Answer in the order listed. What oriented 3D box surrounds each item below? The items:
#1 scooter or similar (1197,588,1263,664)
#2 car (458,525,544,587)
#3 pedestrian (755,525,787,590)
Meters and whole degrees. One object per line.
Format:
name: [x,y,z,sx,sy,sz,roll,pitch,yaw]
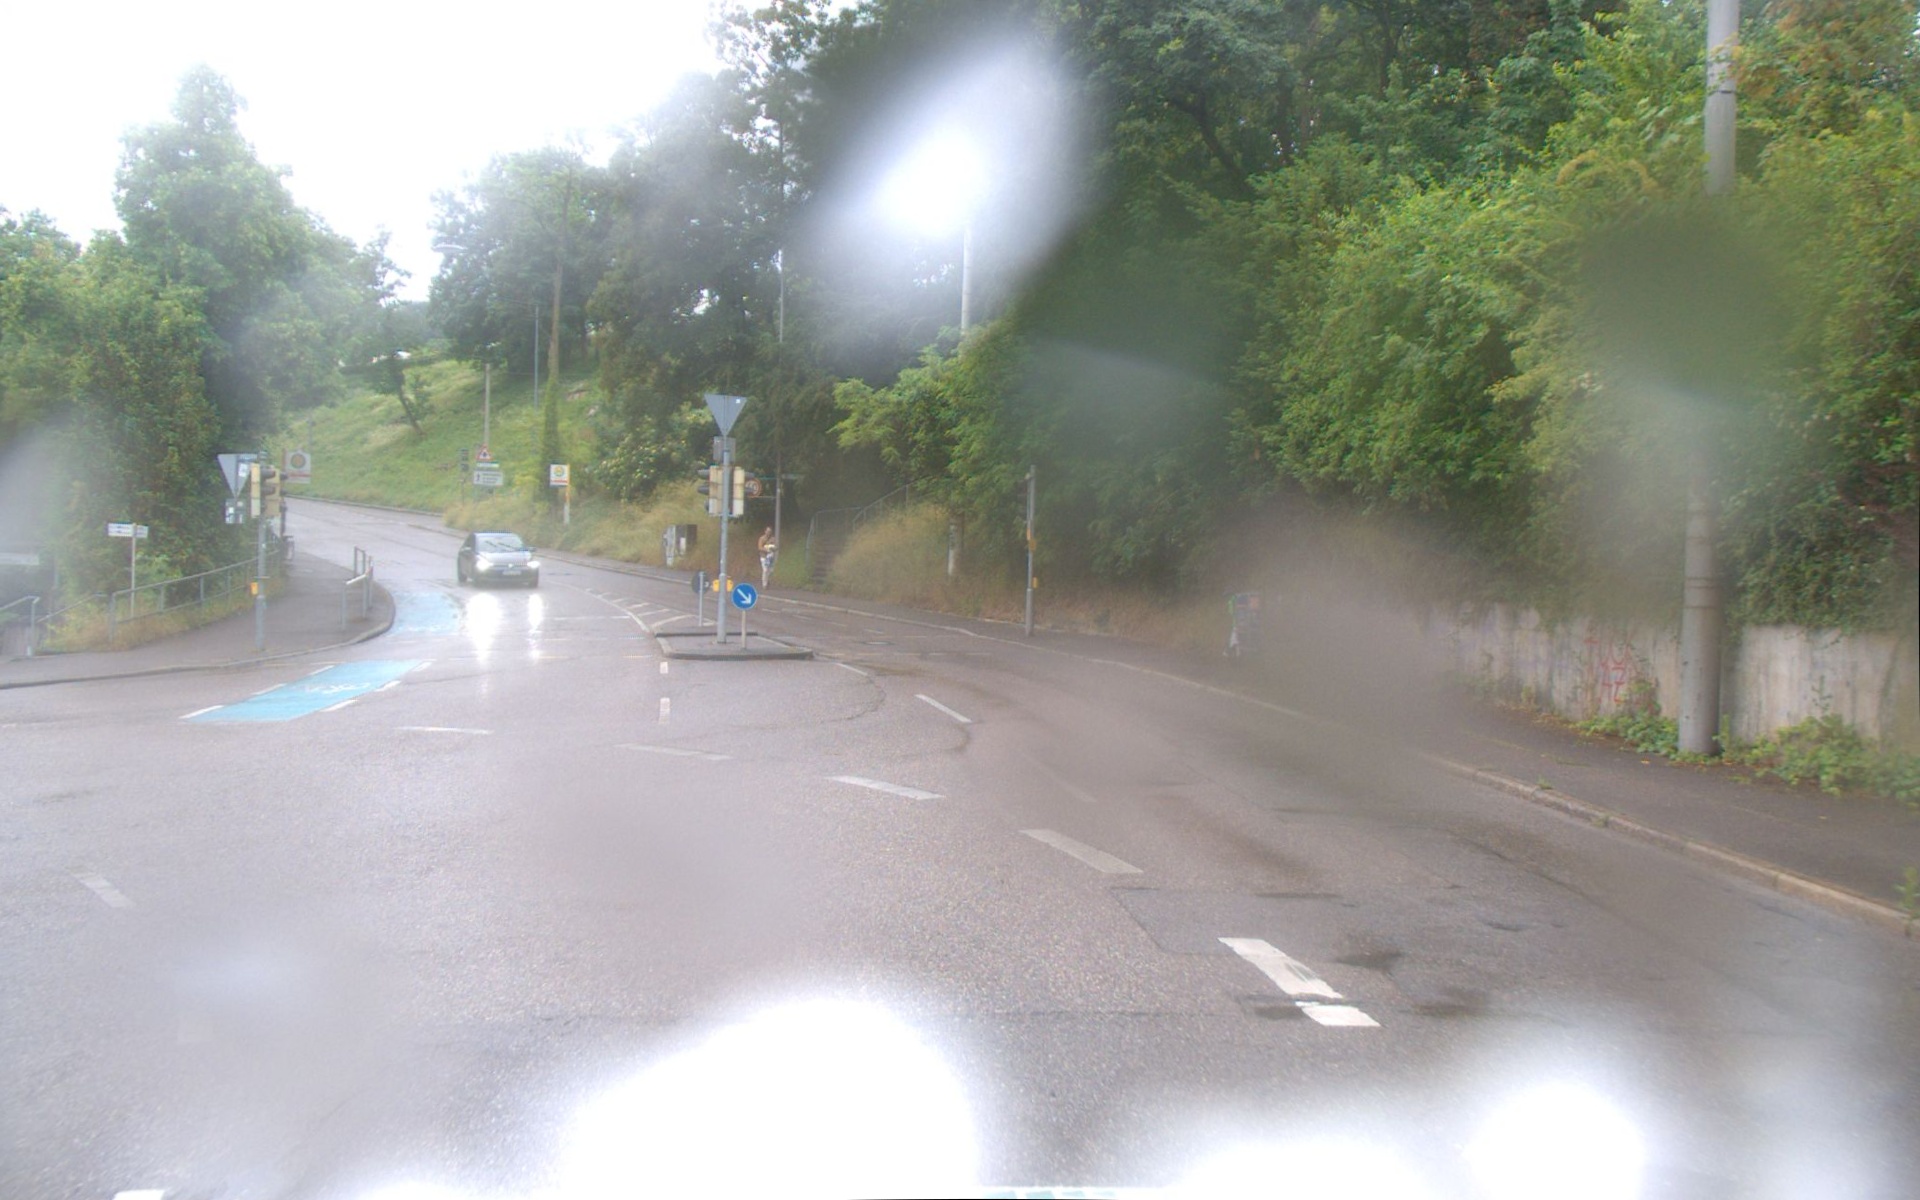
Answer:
scooter or similar: [4.199,0.389,25.838,0.590,1.094,1.767,1,1,-5]
car: [-13.202,-1.317,47.439,1.857,1.547,4.663,-1,5,-22]
pedestrian: [-5.377,-1.204,46.951,0.639,1.783,0.793,1,3,-25]
